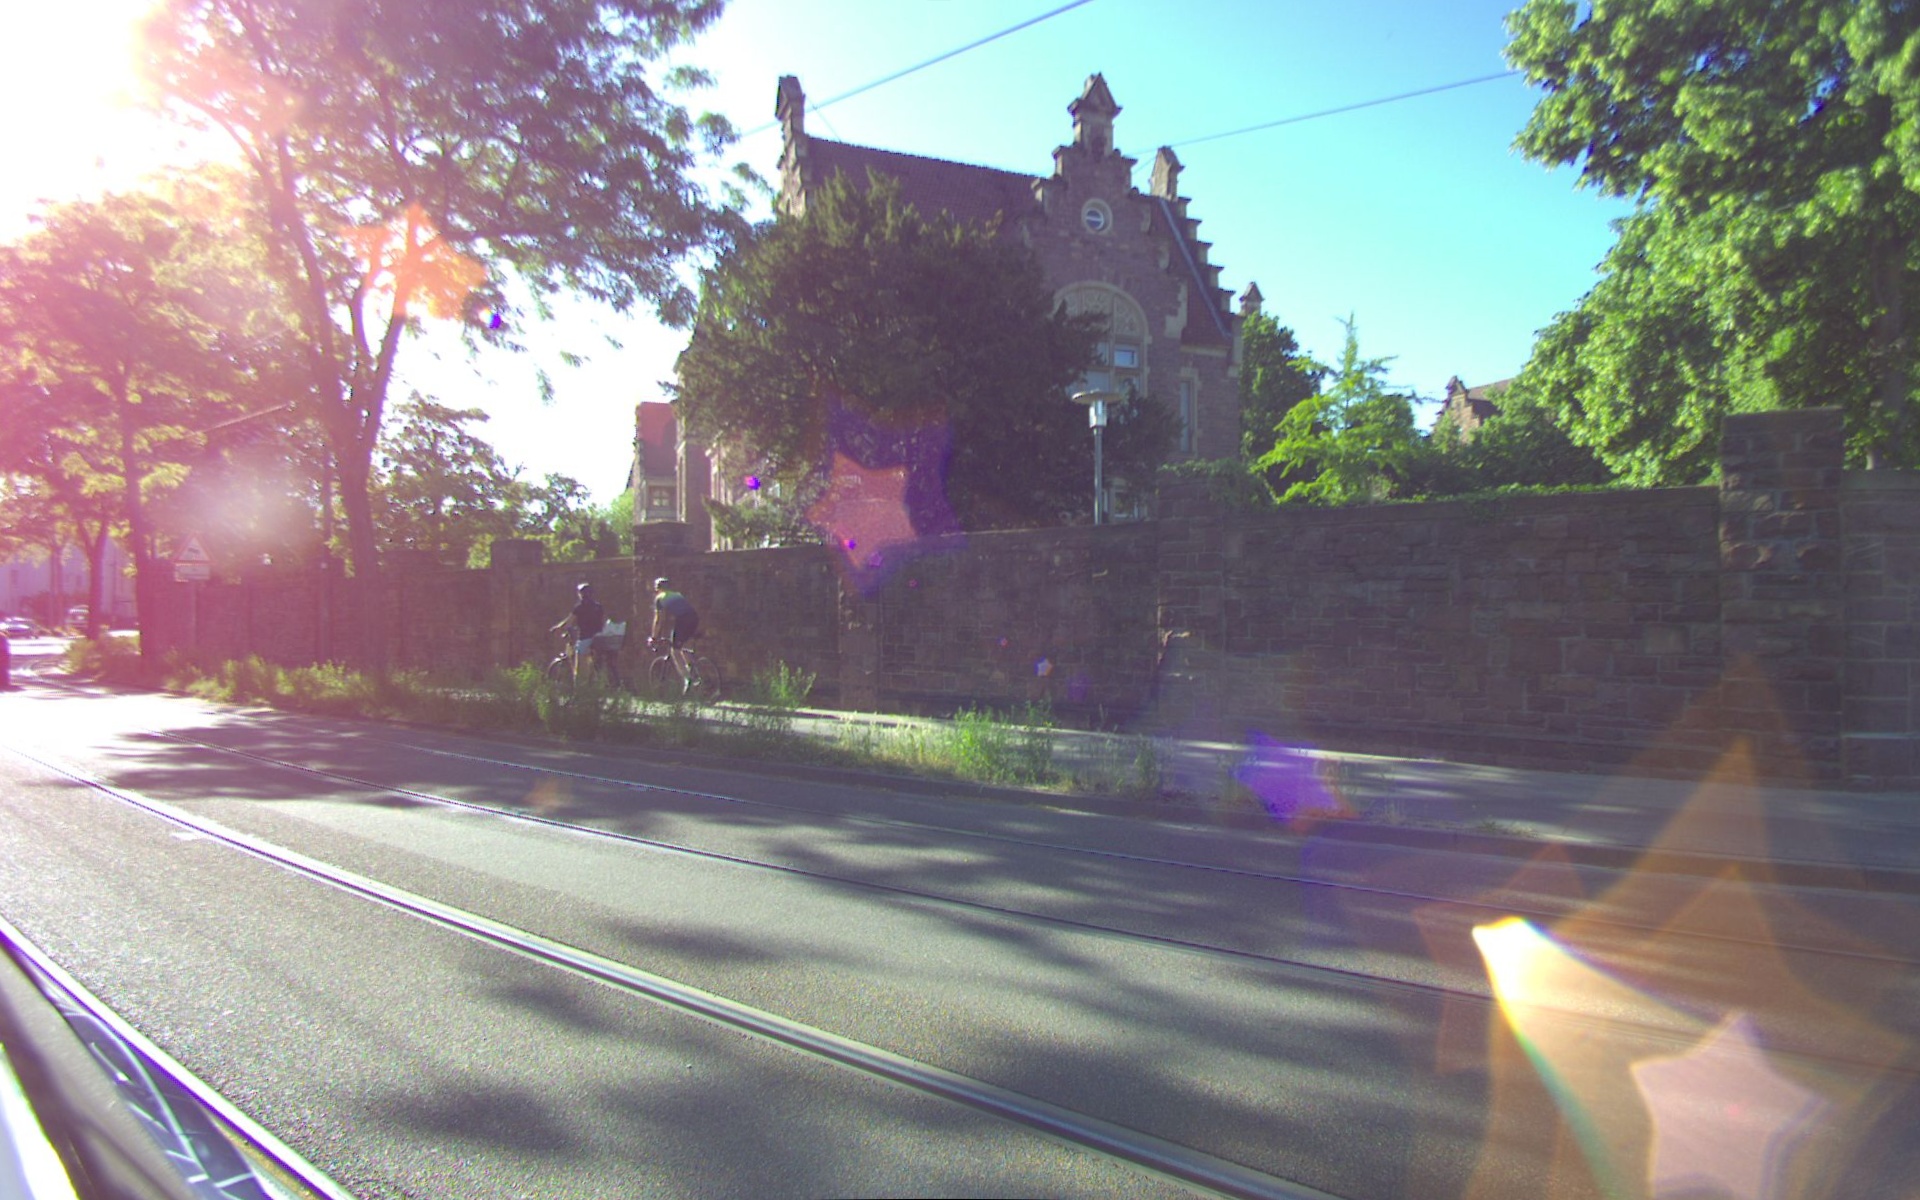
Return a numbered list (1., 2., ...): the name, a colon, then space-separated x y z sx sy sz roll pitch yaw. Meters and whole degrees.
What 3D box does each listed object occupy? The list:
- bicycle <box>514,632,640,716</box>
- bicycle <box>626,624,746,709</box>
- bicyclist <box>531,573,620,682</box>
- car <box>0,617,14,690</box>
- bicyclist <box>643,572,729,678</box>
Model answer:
1. bicycle: -5.402 1.001 14.218 2.060 1.097 0.678 -1 -1 38
2. bicycle: -4.004 0.937 14.738 1.852 1.097 0.678 2 0 37
3. bicyclist: -5.409 0.377 14.227 1.150 1.470 0.647 -1 -1 37
4. car: -23.283 1.216 23.395 4.360 1.619 1.798 -1 -1 43
5. bicyclist: -3.996 0.360 14.747 1.150 1.470 0.647 -1 -1 37
